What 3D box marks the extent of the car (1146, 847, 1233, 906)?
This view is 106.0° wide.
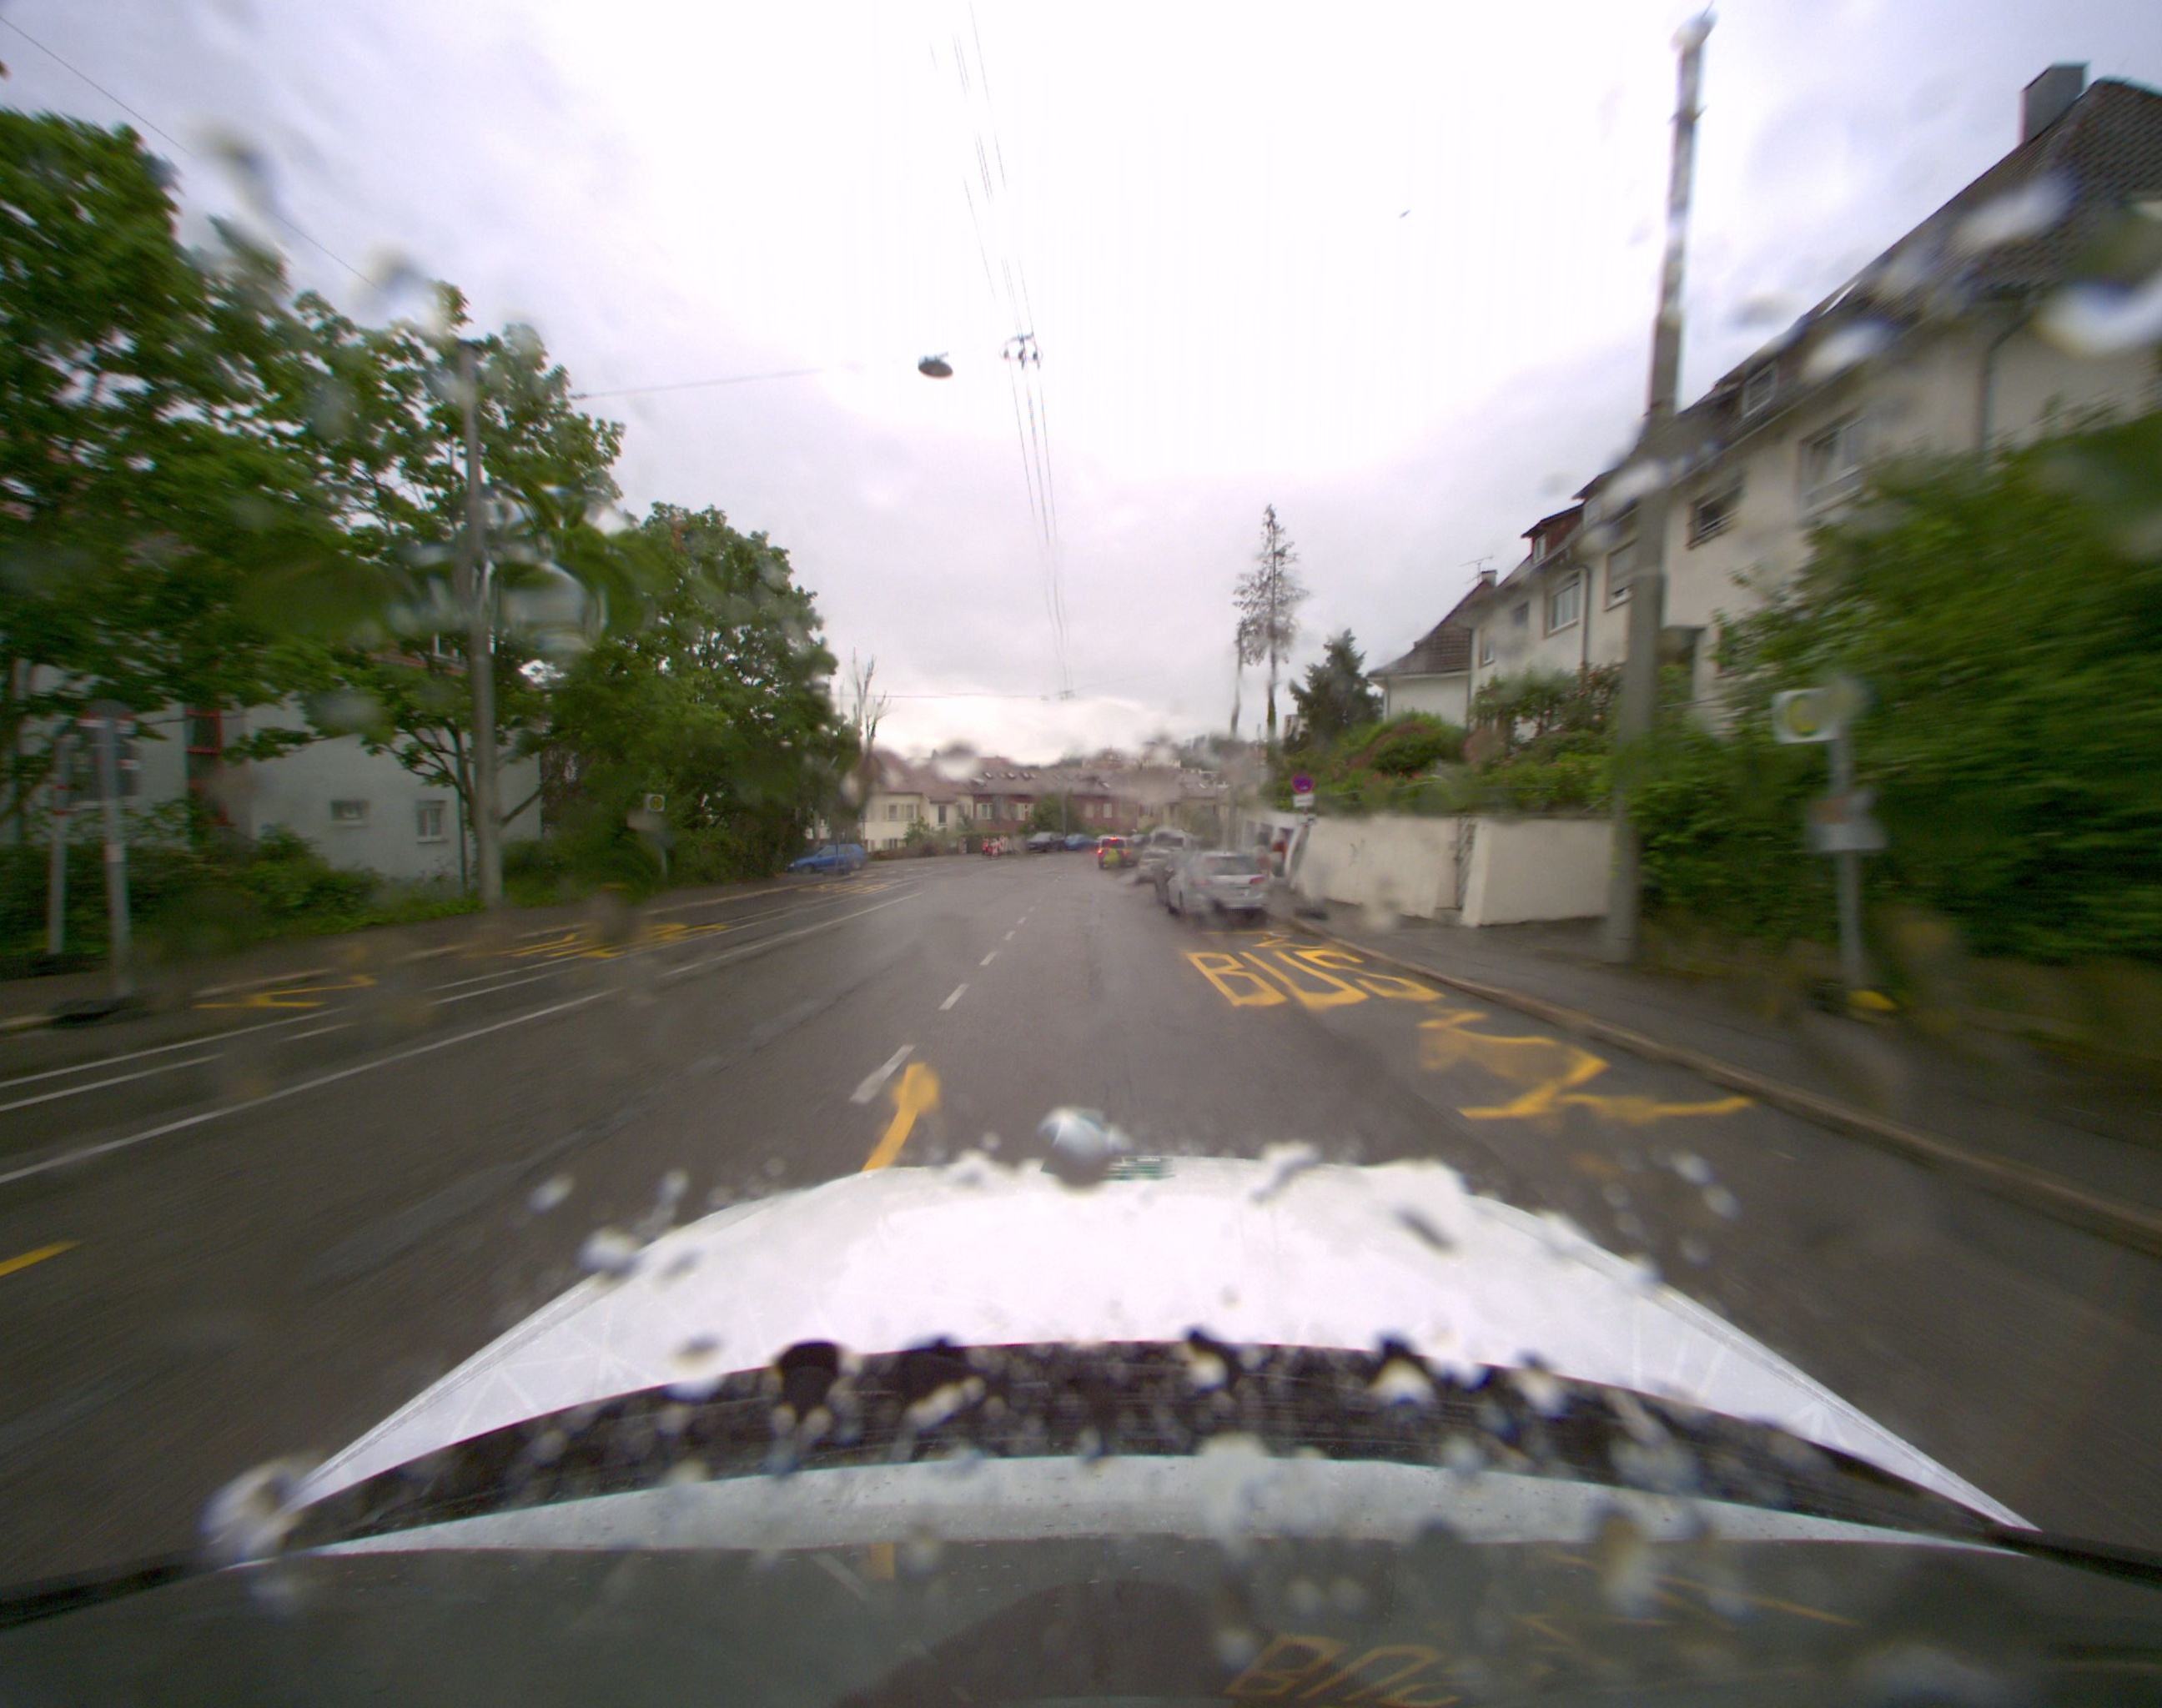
[{"bbox_3d":[2.936,0.553,22.765,1.710,1.513,3.996,0,1,-3],"label":"car"}]

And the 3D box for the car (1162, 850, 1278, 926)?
[{"bbox_3d":[2.875,0.631,17.719,1.775,1.420,4.430,-1,0,0],"label":"car"}]

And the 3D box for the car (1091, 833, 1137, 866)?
[{"bbox_3d":[2.145,-0.286,51.074,2.294,1.939,4.338,1,1,10],"label":"car"}]

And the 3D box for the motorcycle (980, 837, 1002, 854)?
[{"bbox_3d":[-6.263,-0.589,56.683,0.504,1.139,1.934,1,2,29],"label":"motorcycle"}]

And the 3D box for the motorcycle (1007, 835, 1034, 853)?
[{"bbox_3d":[-4.504,-0.743,60.598,1.900,1.270,0.574,3,3,-10],"label":"motorcycle"}]

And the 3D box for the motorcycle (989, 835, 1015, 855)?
[{"bbox_3d":[-5.640,-0.662,58.258,1.786,1.279,0.514,3,3,22],"label":"motorcycle"}]

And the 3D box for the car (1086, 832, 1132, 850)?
[{"bbox_3d":[2.538,-1.218,73.870,1.791,1.476,4.551,5,4,37],"label":"car"}]

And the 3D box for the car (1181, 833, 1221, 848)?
[{"bbox_3d":[12.932,-1.458,87.705,1.792,1.476,4.549,6,4,44],"label":"car"}]

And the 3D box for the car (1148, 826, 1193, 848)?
[{"bbox_3d":[9.185,-1.685,83.264,1.831,2.078,5.052,6,4,41],"label":"car"}]

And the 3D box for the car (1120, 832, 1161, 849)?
[{"bbox_3d":[5.729,-1.321,78.521,1.791,1.476,4.551,5,4,35],"label":"car"}]

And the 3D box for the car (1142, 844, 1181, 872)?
[{"bbox_3d":[4.847,0.198,48.727,1.741,1.495,4.199,1,2,13],"label":"car"}]

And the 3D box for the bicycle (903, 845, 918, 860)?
[{"bbox_3d":[-12.271,-0.124,58.539,1.311,1.035,0.307,-3,-4,41],"label":"bicycle"}]

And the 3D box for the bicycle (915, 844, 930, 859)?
[{"bbox_3d":[-11.235,-0.176,57.605,1.287,1.035,0.307,-3,-3,39],"label":"bicycle"}]

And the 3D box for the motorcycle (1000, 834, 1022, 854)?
[{"bbox_3d":[-5.094,-0.707,59.169,0.616,1.302,1.787,1,4,-40],"label":"motorcycle"}]

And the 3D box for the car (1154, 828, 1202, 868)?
[{"bbox_3d":[6.509,-0.423,54.119,2.082,2.542,5.645,1,1,17],"label":"car"}]

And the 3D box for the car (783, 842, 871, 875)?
[{"bbox_3d":[-13.074,0.247,42.063,3.959,1.666,1.822,1,-1,-36],"label":"car"}]

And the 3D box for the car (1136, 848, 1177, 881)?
[{"bbox_3d":[3.351,0.429,36.753,1.698,1.414,4.045,0,0,3],"label":"car"}]

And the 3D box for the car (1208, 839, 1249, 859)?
[{"bbox_3d":[12.347,-0.442,67.959,1.663,1.483,4.228,5,3,35],"label":"car"}]

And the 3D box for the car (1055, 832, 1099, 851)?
[{"bbox_3d":[-0.286,-1.104,69.175,1.684,1.404,4.501,5,4,28],"label":"car"}]

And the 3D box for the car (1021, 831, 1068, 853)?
[{"bbox_3d":[-2.818,-0.987,64.391,1.905,1.576,4.413,5,4,23],"label":"car"}]
